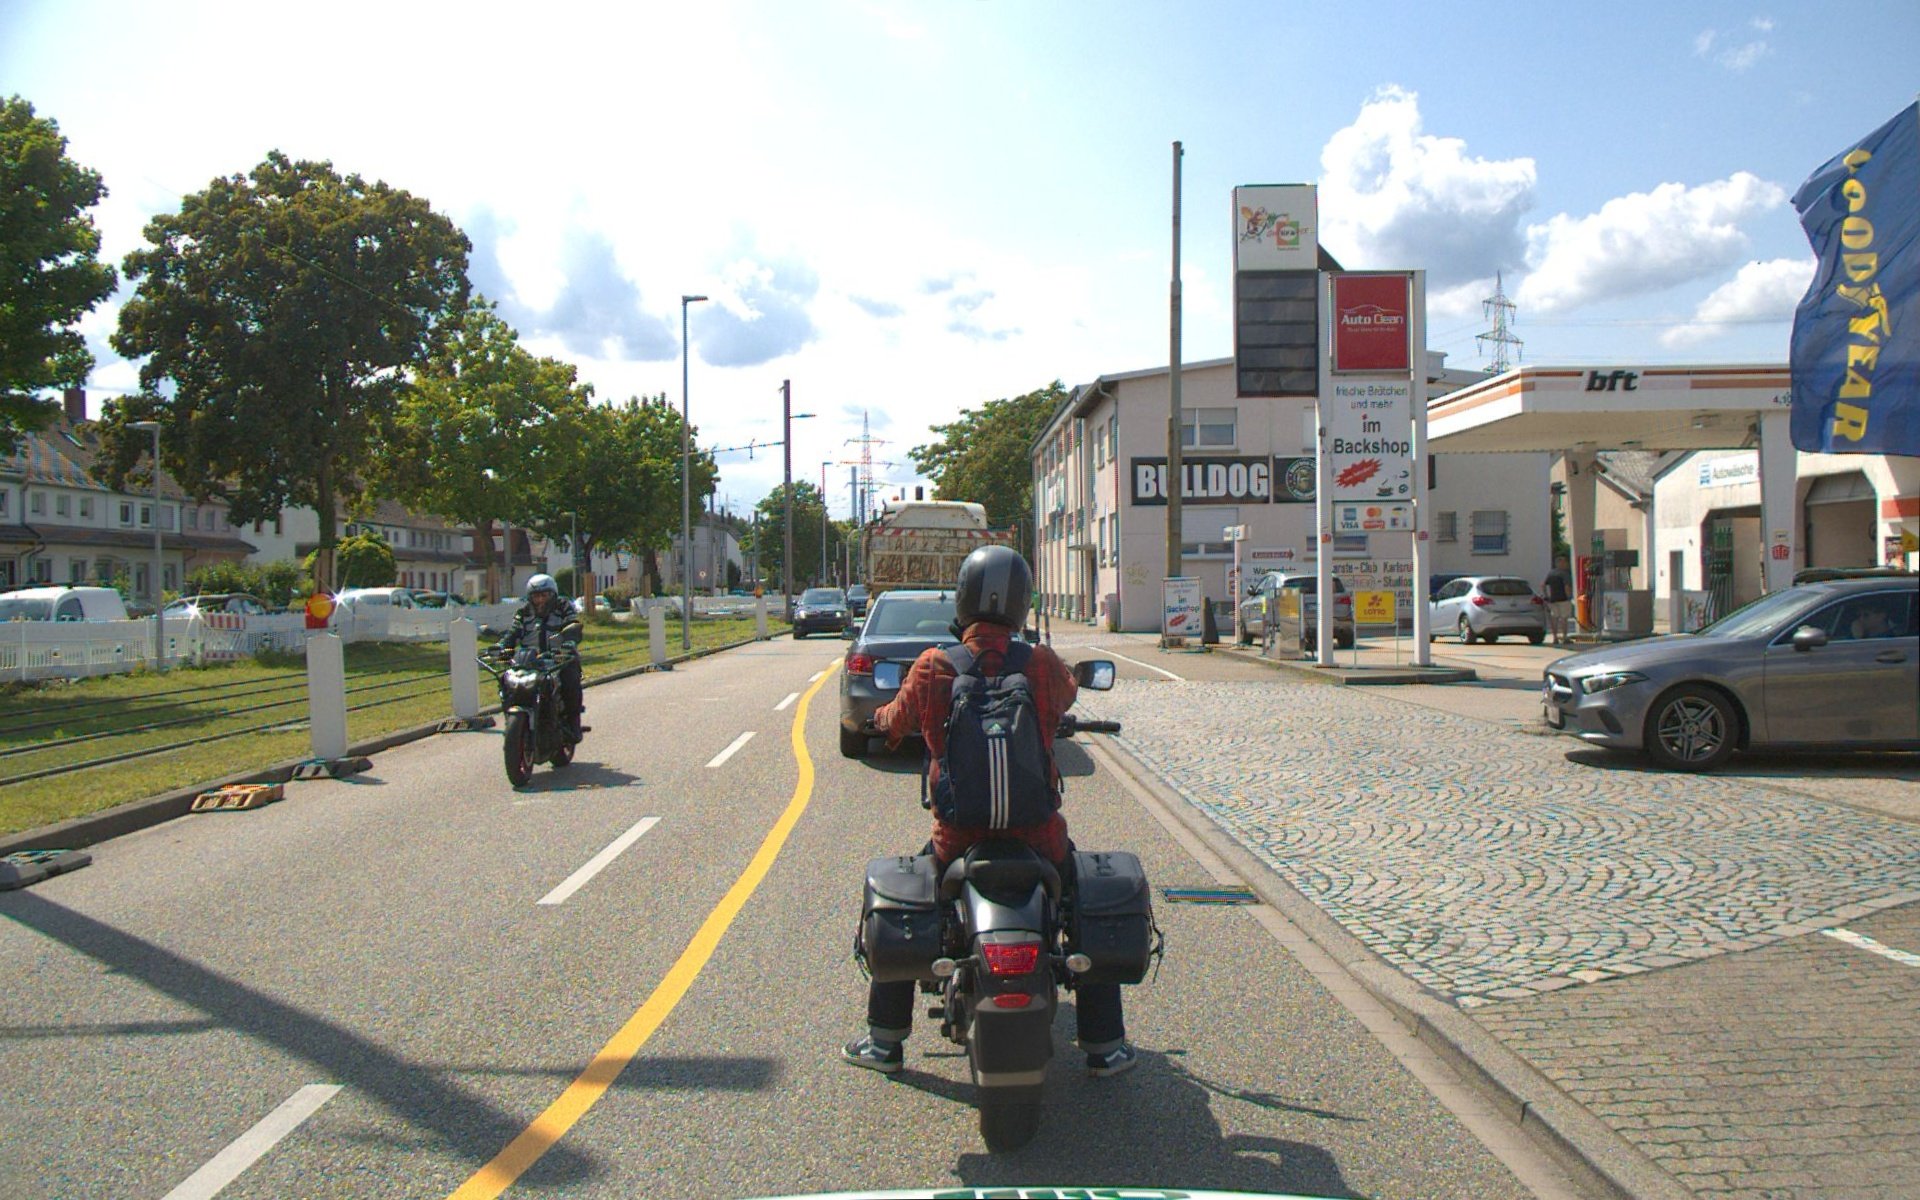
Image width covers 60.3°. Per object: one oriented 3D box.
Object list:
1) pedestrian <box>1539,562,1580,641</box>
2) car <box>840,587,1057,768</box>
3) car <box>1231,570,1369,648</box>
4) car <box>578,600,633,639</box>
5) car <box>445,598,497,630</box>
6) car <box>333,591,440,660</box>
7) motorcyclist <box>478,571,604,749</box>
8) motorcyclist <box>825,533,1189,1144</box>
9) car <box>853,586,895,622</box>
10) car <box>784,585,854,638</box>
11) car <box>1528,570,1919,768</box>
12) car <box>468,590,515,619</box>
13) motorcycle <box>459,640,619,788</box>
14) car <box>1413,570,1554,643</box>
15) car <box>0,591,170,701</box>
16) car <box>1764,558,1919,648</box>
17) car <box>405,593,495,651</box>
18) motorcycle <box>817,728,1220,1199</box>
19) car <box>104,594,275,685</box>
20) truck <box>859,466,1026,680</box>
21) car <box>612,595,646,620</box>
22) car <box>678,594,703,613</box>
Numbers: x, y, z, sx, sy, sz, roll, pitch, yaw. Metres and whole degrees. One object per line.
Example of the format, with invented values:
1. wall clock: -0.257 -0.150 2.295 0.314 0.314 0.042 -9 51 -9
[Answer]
1. pedestrian: 12.952 0.033 35.713 0.696 1.685 0.546 -1 0 35
2. car: -0.122 0.628 15.803 1.786 1.478 3.999 1 0 -1
3. car: 7.456 0.178 36.632 1.636 1.589 4.236 -1 0 -8
4. car: -17.058 0.915 79.685 1.740 1.753 4.127 -1 0 -1
5. car: -28.303 0.784 95.833 1.740 1.753 4.127 -1 0 -1
6. car: -16.941 0.717 49.035 1.740 1.900 4.127 -1 0 -1
7. motorcyclist: -3.437 0.474 13.630 0.851 1.402 0.800 -1 0 -4
8. motorcyclist: 0.121 0.639 5.018 0.959 1.630 1.087 -1 0 -1
9. car: -4.092 0.179 79.017 1.786 1.630 4.323 -2 0 -1
10. car: -4.257 0.324 50.500 1.786 1.478 4.323 -2 0 -1
11. car: 6.795 0.496 12.955 4.181 1.440 1.675 -1 0 8
12. car: -29.429 0.282 103.951 1.740 1.753 4.127 -1 0 -1
13. motorcycle: -3.434 0.894 13.698 0.851 1.039 2.243 -1 0 -3
14. car: 11.720 0.122 37.267 1.770 1.529 3.831 -1 0 -3
15. car: -16.433 0.783 30.389 1.740 1.853 4.363 -1 0 -1
16. car: 16.617 0.027 30.322 1.770 1.529 3.832 -1 0 -3
17. car: -16.974 0.701 55.260 1.740 1.837 4.127 -1 0 -1
18. motorcycle: 0.123 0.993 5.324 0.959 0.913 2.653 -1 0 -1
19. car: -16.675 0.808 36.025 1.740 1.805 4.227 -1 0 -1
20. truck: -0.337 -0.464 30.281 2.585 3.354 8.054 -1 0 -1
21. car: -24.969 0.558 124.851 1.740 1.753 4.127 -1 0 -1
22. car: -26.084 0.299 160.258 1.740 1.753 4.250 -1 0 -1
